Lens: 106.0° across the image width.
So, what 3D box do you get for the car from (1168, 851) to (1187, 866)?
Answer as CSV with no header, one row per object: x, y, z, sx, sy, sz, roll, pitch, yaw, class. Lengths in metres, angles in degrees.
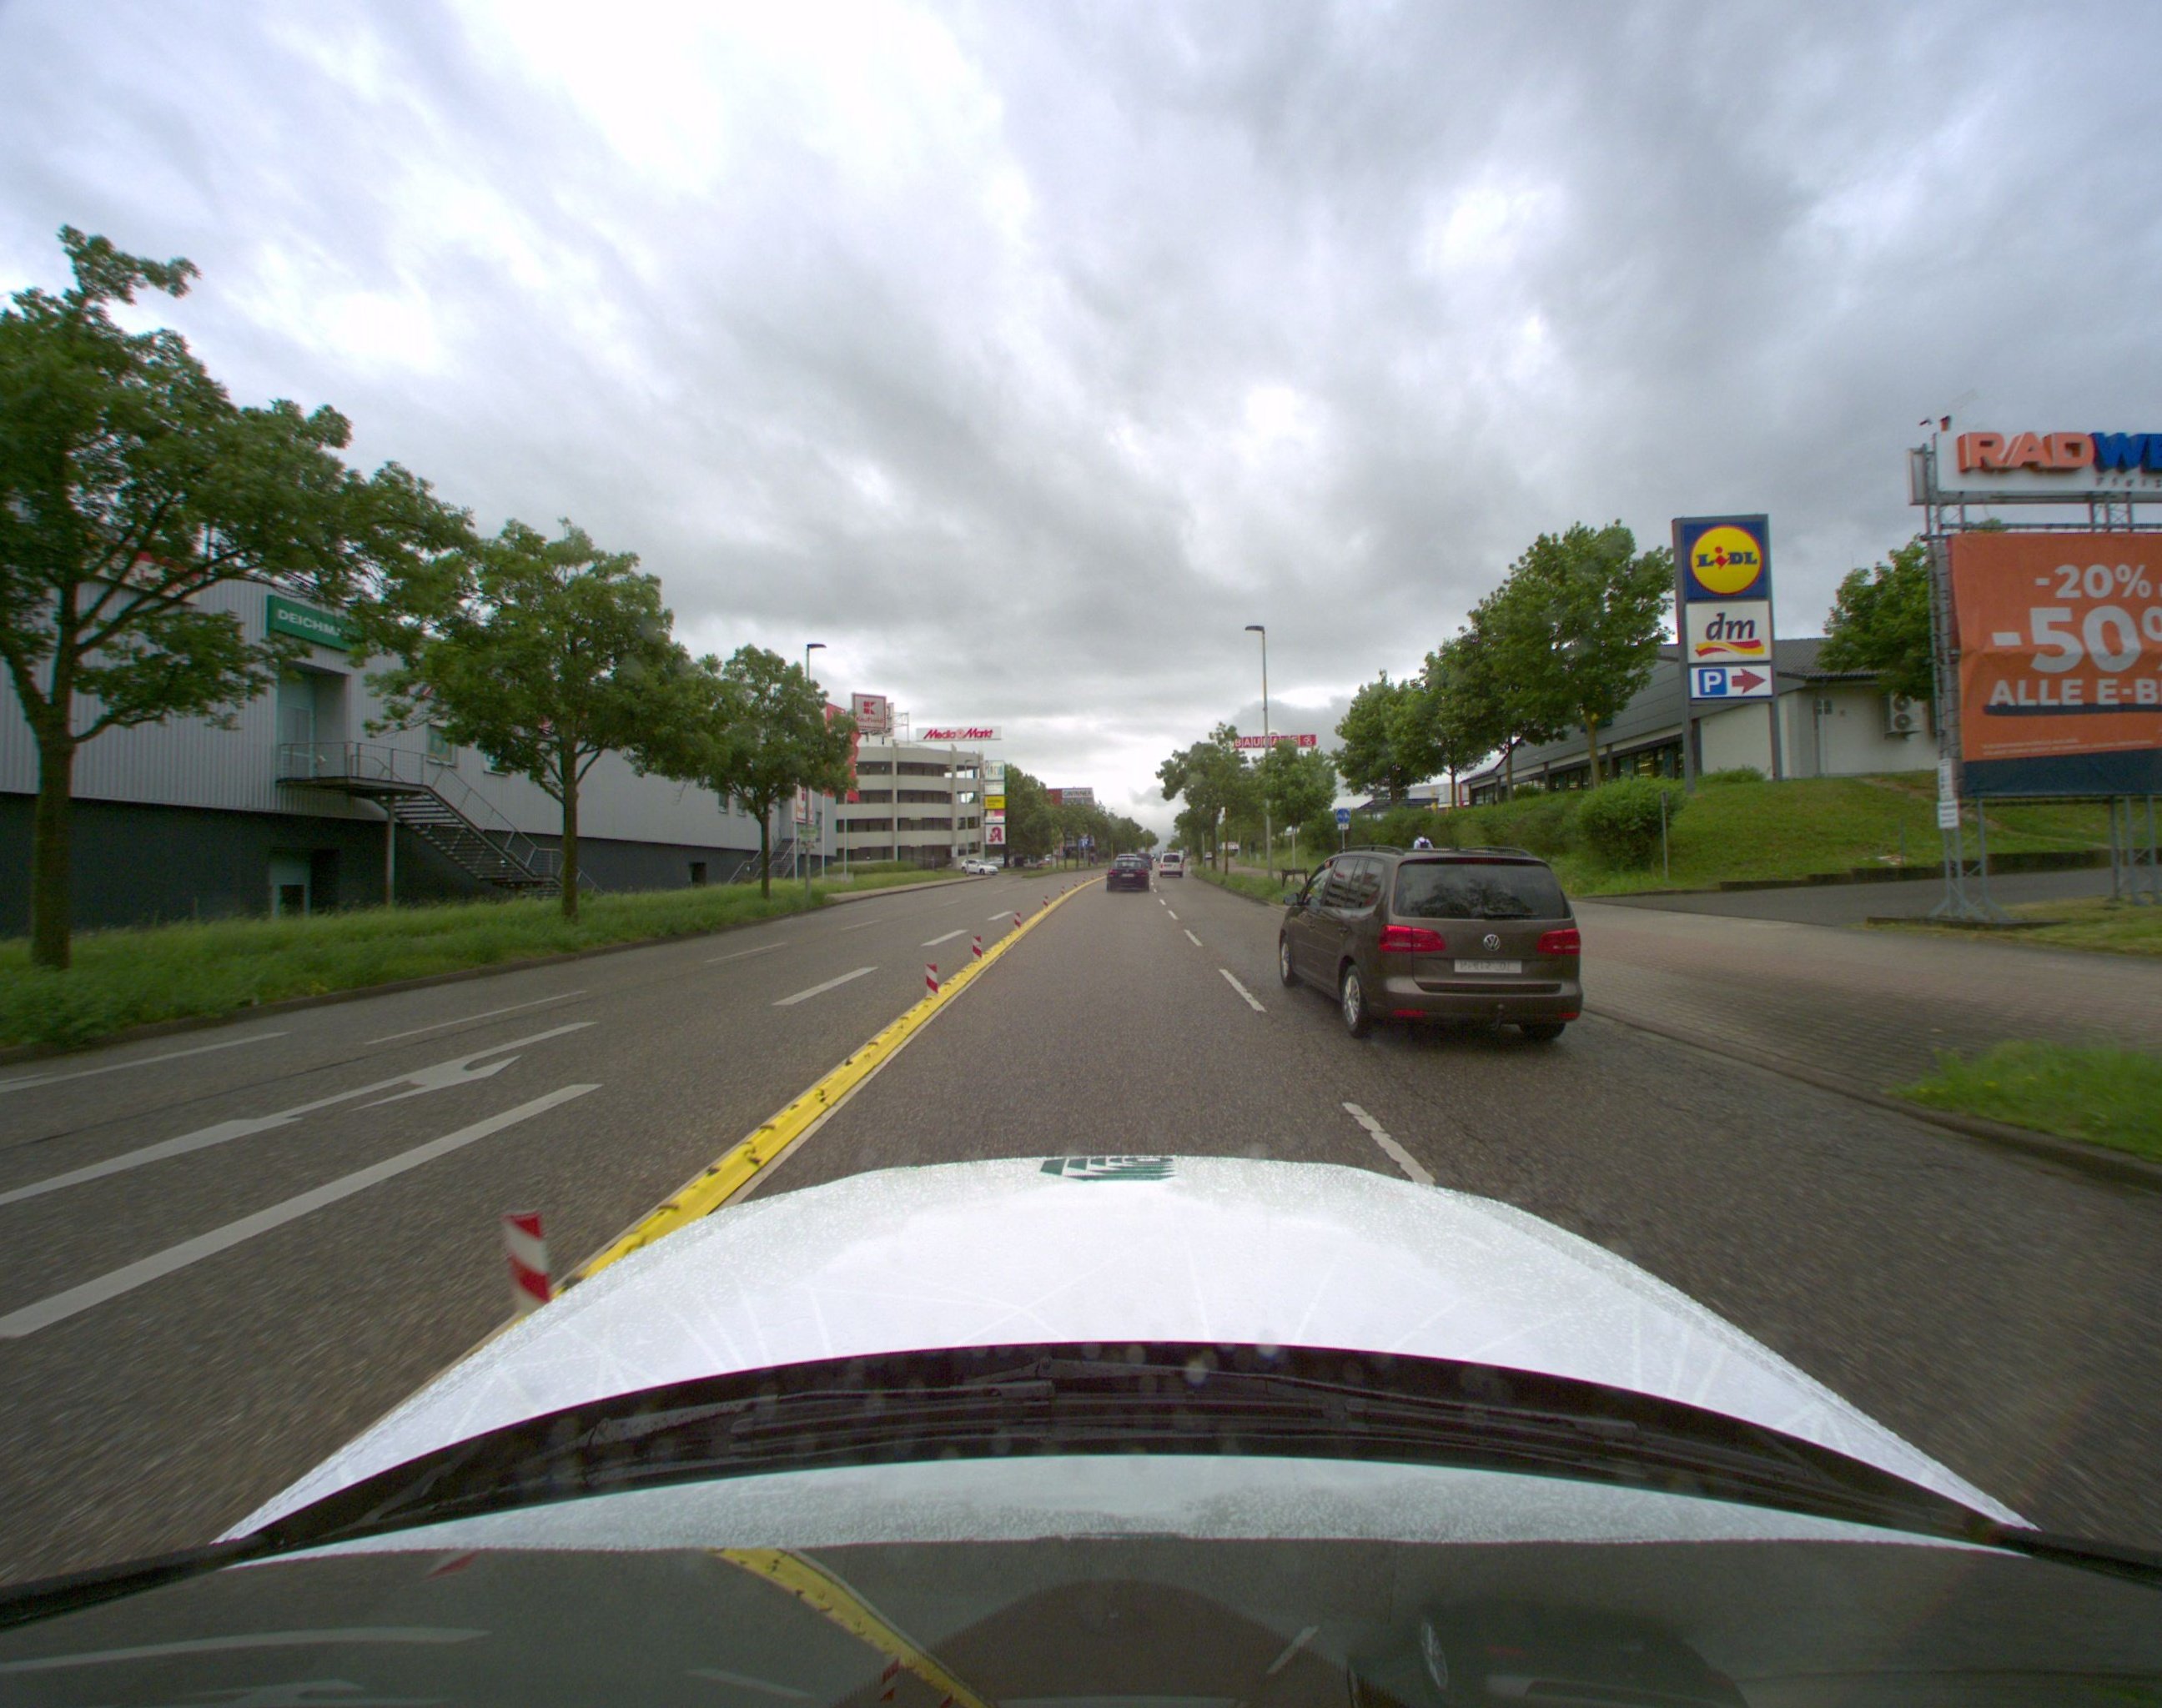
9.591,0.470,81.316,1.785,1.510,4.006,1,-1,5,car

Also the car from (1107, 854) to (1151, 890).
2.134,0.774,36.293,1.819,1.468,4.003,-1,0,3,car

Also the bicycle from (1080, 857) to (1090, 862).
0.844,1.253,174.511,2.063,0.935,1.097,4,0,11,bicycle

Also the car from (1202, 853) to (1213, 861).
24.804,0.622,159.602,1.786,1.510,4.004,1,-1,4,car

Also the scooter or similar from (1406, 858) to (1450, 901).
10.865,0.779,25.539,0.693,1.263,1.399,-3,0,-2,scooter or similar

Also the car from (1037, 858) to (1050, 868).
-6.503,1.547,141.899,1.925,1.608,4.715,0,1,2,car

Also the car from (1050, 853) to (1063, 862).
-5.289,0.735,177.257,2.127,1.773,4.615,0,1,5,car

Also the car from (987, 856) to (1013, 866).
-14.686,1.257,147.402,4.585,1.745,1.966,0,1,-1,car

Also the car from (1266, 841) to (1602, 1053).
3.109,0.686,8.186,1.679,1.581,4.220,0,0,2,car

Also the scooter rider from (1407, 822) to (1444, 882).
10.819,-0.062,25.591,0.693,1.820,0.857,-3,0,-2,scooter rider

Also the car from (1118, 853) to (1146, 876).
3.470,0.720,55.803,1.787,1.510,4.003,1,-1,3,car

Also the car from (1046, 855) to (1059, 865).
-5.450,1.172,156.316,2.030,1.762,4.952,0,1,4,car

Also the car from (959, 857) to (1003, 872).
-10.019,1.021,81.332,4.367,1.408,1.918,1,2,39,car

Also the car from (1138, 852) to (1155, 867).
7.064,0.588,88.177,1.786,1.510,4.005,1,-1,4,car

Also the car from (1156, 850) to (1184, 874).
6.724,0.561,61.844,1.819,1.759,4.003,1,0,3,car
